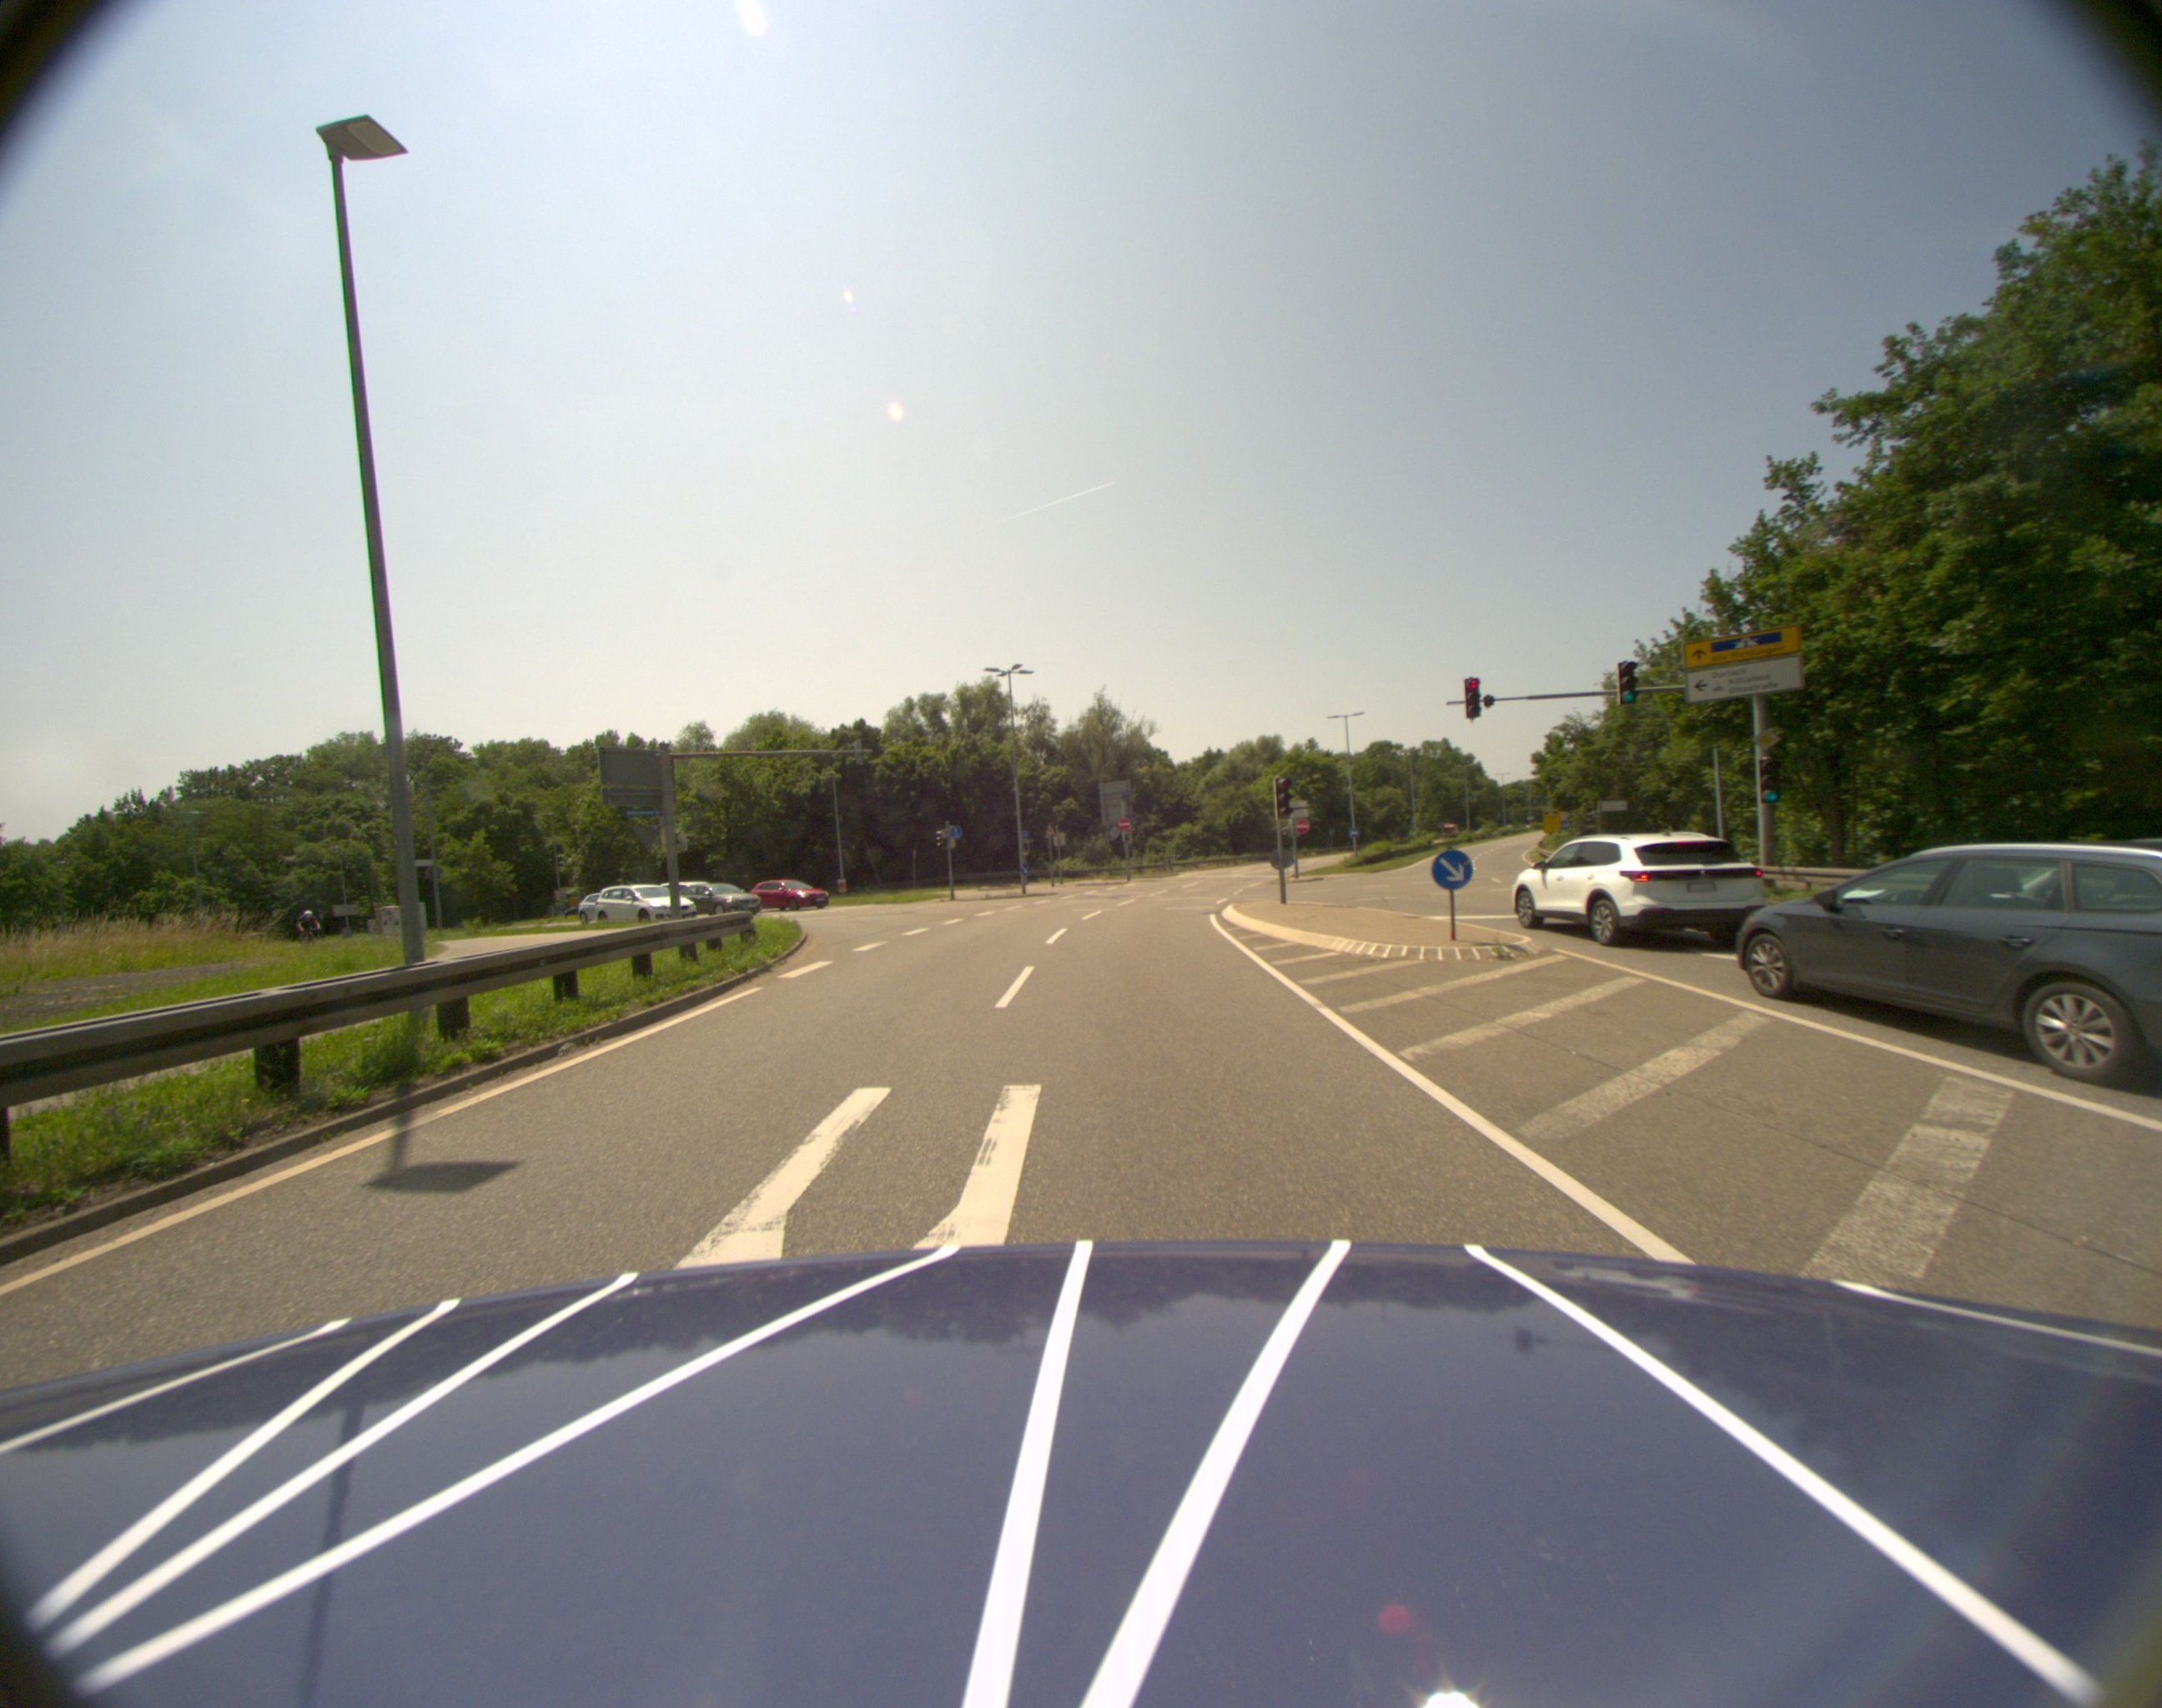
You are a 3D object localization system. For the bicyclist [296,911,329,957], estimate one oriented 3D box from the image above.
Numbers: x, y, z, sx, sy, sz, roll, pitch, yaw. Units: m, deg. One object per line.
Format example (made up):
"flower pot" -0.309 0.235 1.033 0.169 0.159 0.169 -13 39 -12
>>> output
"bicyclist" -27.876 2.898 27.554 0.690 1.590 0.672 -3 1 35

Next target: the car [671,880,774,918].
"car" -15.314 1.928 32.421 4.176 1.415 1.871 -3 0 30

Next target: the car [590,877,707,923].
"car" -16.411 1.746 28.772 4.286 1.497 1.871 -3 0 30

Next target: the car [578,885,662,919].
"car" -21.660 2.254 35.649 3.990 1.422 1.585 -3 0 30

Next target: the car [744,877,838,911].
"car" -13.485 1.849 35.276 4.176 1.346 1.758 -3 0 30

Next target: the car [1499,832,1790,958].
"car" 8.718 0.529 12.374 1.831 1.629 4.581 -2 0 8

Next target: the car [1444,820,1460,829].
"car" 67.724 -5.402 138.794 1.842 1.422 3.584 -3 0 38

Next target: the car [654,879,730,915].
"car" -20.069 2.223 39.193 3.599 1.642 1.585 -3 1 26

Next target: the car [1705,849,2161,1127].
"car" 6.948 0.714 5.428 1.831 1.398 4.549 -2 0 10

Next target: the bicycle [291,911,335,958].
"bicycle" -27.815 2.885 27.508 2.368 1.565 0.657 -3 1 35
